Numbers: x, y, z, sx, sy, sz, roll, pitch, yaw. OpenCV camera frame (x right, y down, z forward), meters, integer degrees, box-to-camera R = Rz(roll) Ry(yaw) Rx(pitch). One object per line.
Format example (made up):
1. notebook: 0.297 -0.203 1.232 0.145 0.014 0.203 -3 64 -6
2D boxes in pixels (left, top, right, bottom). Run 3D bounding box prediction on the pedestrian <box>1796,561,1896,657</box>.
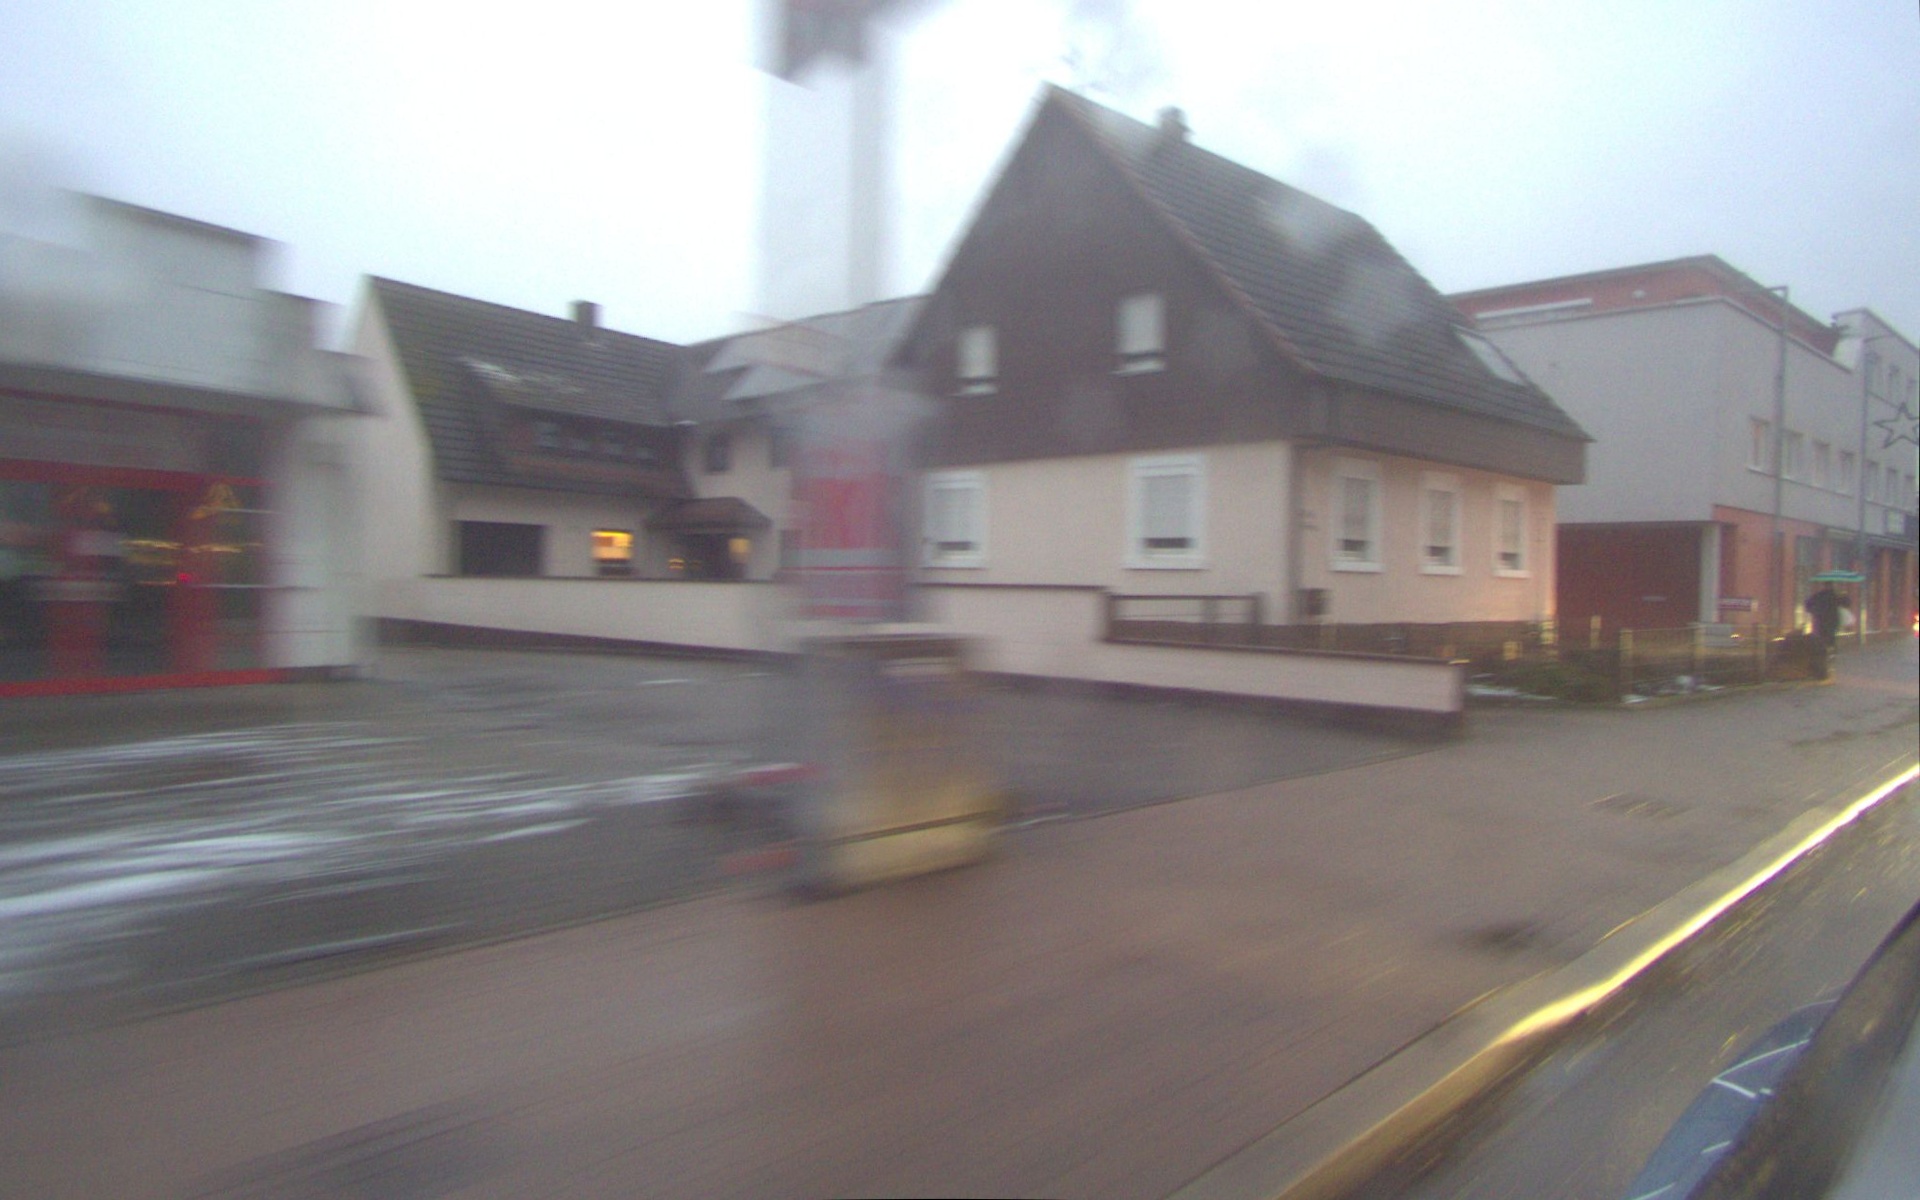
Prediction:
1. pedestrian: 18.432 0.165 21.060 1.279 1.888 1.259 0 3 -36
